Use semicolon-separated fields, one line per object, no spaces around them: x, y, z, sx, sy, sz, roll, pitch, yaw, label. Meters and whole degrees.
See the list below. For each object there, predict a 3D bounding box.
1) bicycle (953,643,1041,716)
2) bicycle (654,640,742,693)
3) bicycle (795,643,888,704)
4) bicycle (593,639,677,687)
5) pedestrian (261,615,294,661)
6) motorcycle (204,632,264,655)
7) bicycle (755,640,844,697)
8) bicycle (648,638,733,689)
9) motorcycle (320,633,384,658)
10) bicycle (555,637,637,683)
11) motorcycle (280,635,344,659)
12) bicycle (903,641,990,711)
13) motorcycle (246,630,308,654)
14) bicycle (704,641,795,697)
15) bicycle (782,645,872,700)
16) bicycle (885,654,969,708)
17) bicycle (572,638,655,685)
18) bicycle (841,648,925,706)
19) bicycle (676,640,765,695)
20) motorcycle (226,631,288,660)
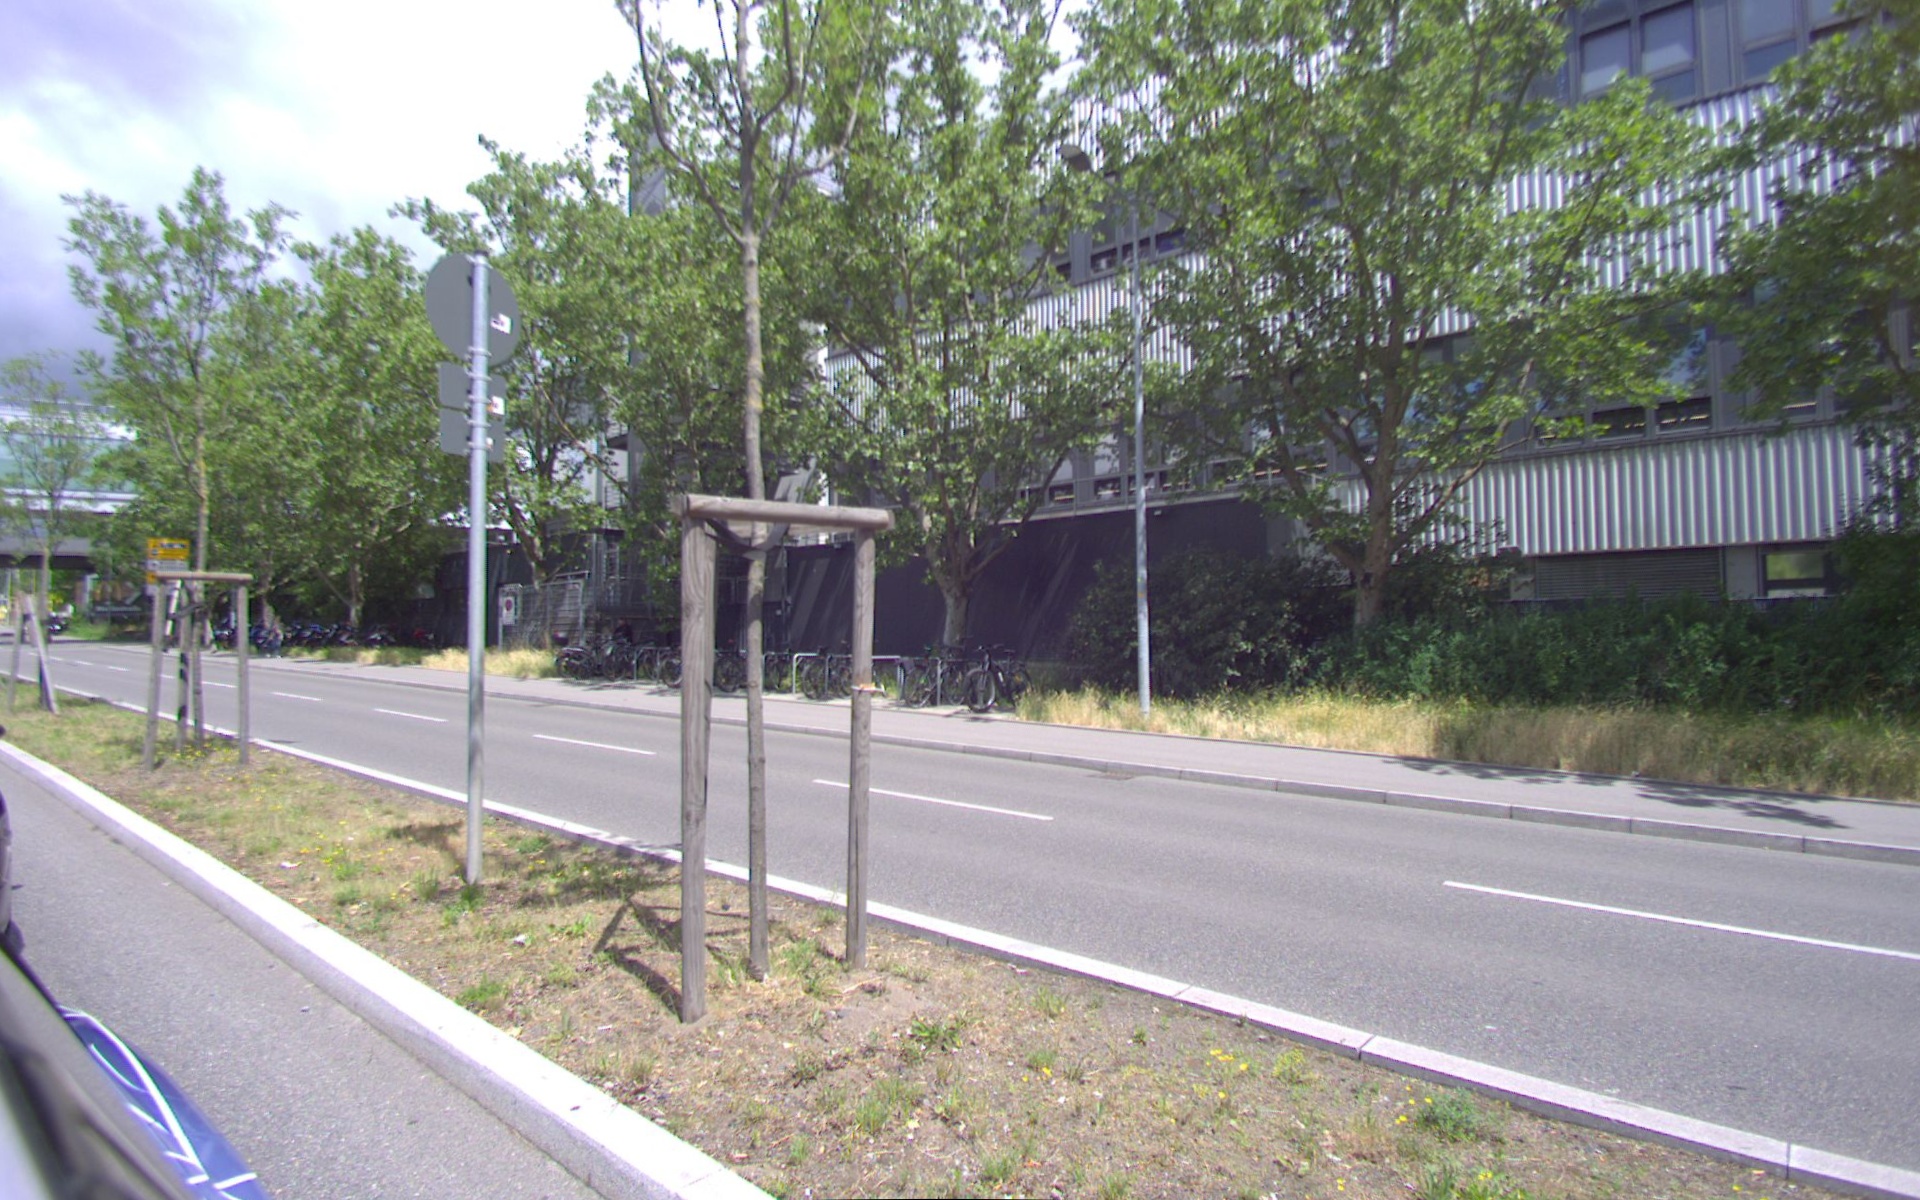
0.660;1.338;17.386;0.381;1.137;1.968;-2;-1;39;bicycle
-5.990;1.500;23.252;0.382;1.119;2.101;-2;-1;43;bicycle
-2.340;1.434;20.217;0.382;1.104;2.101;-2;-1;43;bicycle
-8.160;1.566;25.526;0.382;1.119;2.101;-2;-1;43;bicycle
-26.365;1.455;39.091;0.672;1.734;0.888;-2;-2;41;pedestrian
-32.066;1.918;44.721;0.534;0.976;2.105;-2;-1;41;motorcycle
-3.412;1.456;21.739;0.382;1.119;2.101;-2;-1;43;bicycle
-6.481;1.511;24.402;0.382;1.119;2.101;-2;-1;43;bicycle
-23.940;1.780;39.852;0.534;0.905;2.105;-2;-1;41;motorcycle
-9.546;1.552;26.620;0.382;1.119;2.101;-2;-1;43;bicycle
-26.097;1.889;40.771;0.534;0.892;2.105;-2;-1;41;motorcycle
-0.219;1.335;18.109;0.381;1.137;1.968;-2;-1;39;bicycle
-28.705;1.760;42.552;0.534;0.976;2.105;-2;-1;41;motorcycle
-4.543;1.479;22.005;0.382;1.119;2.101;-2;-1;43;bicycle
-2.743;1.479;21.125;0.382;1.038;2.101;-2;-1;43;bicycle
-0.597;1.520;19.210;0.381;0.897;1.968;-2;-1;39;bicycle
-8.905;1.571;26.074;0.382;1.119;2.101;-2;-1;43;bicycle
-1.469;1.476;19.695;0.381;1.005;1.968;-2;-1;39;bicycle
-5.333;1.488;22.656;0.382;1.119;2.101;-2;-1;43;bicycle
-29.970;1.918;43.157;0.534;1.146;2.105;-2;-1;41;motorcycle
